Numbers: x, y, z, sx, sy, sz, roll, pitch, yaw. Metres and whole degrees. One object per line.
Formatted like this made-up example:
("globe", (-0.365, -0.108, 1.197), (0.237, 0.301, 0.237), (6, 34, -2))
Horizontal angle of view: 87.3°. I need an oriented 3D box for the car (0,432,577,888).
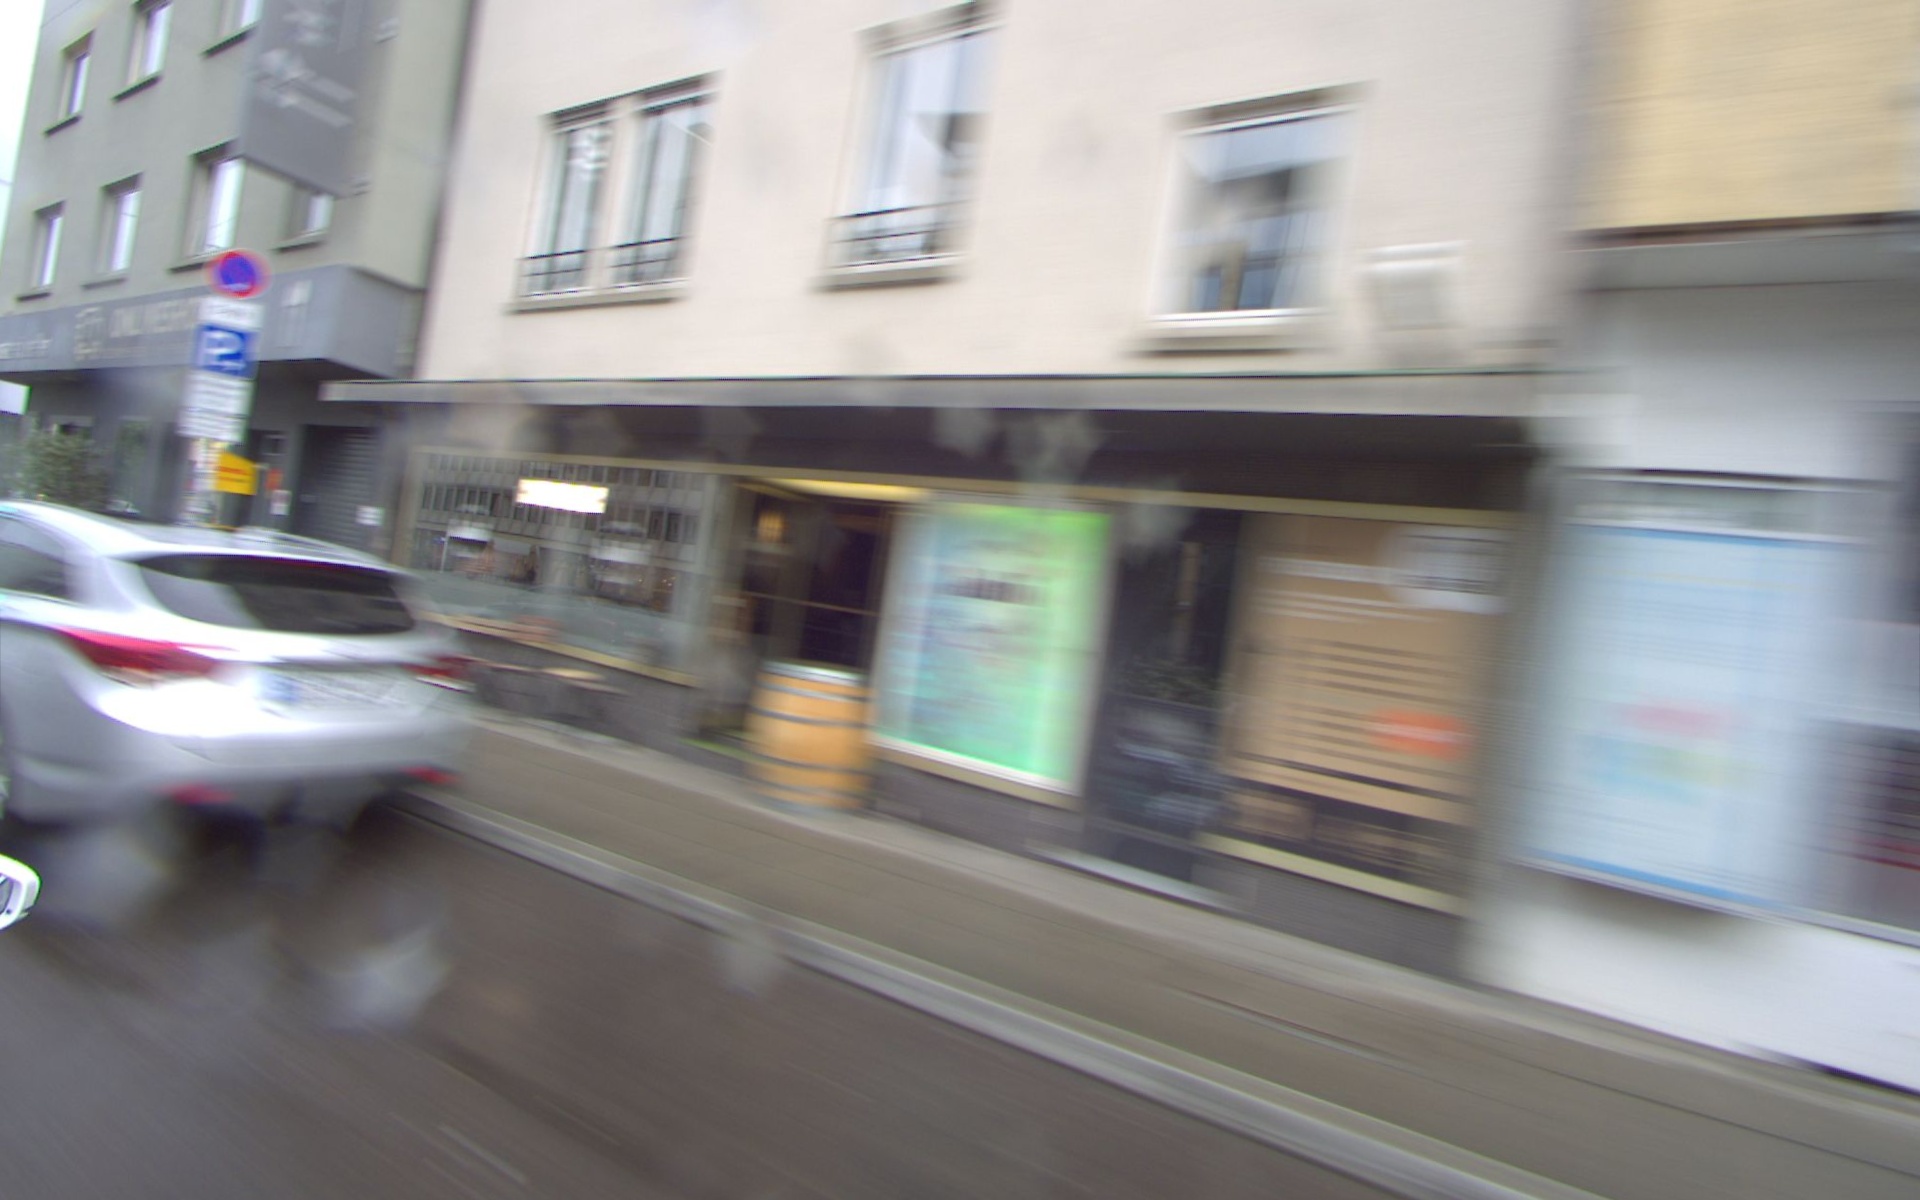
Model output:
("car", (-4.550, 0.098, 5.614), (4.544, 1.612, 2.028), (7, -2, 32))
